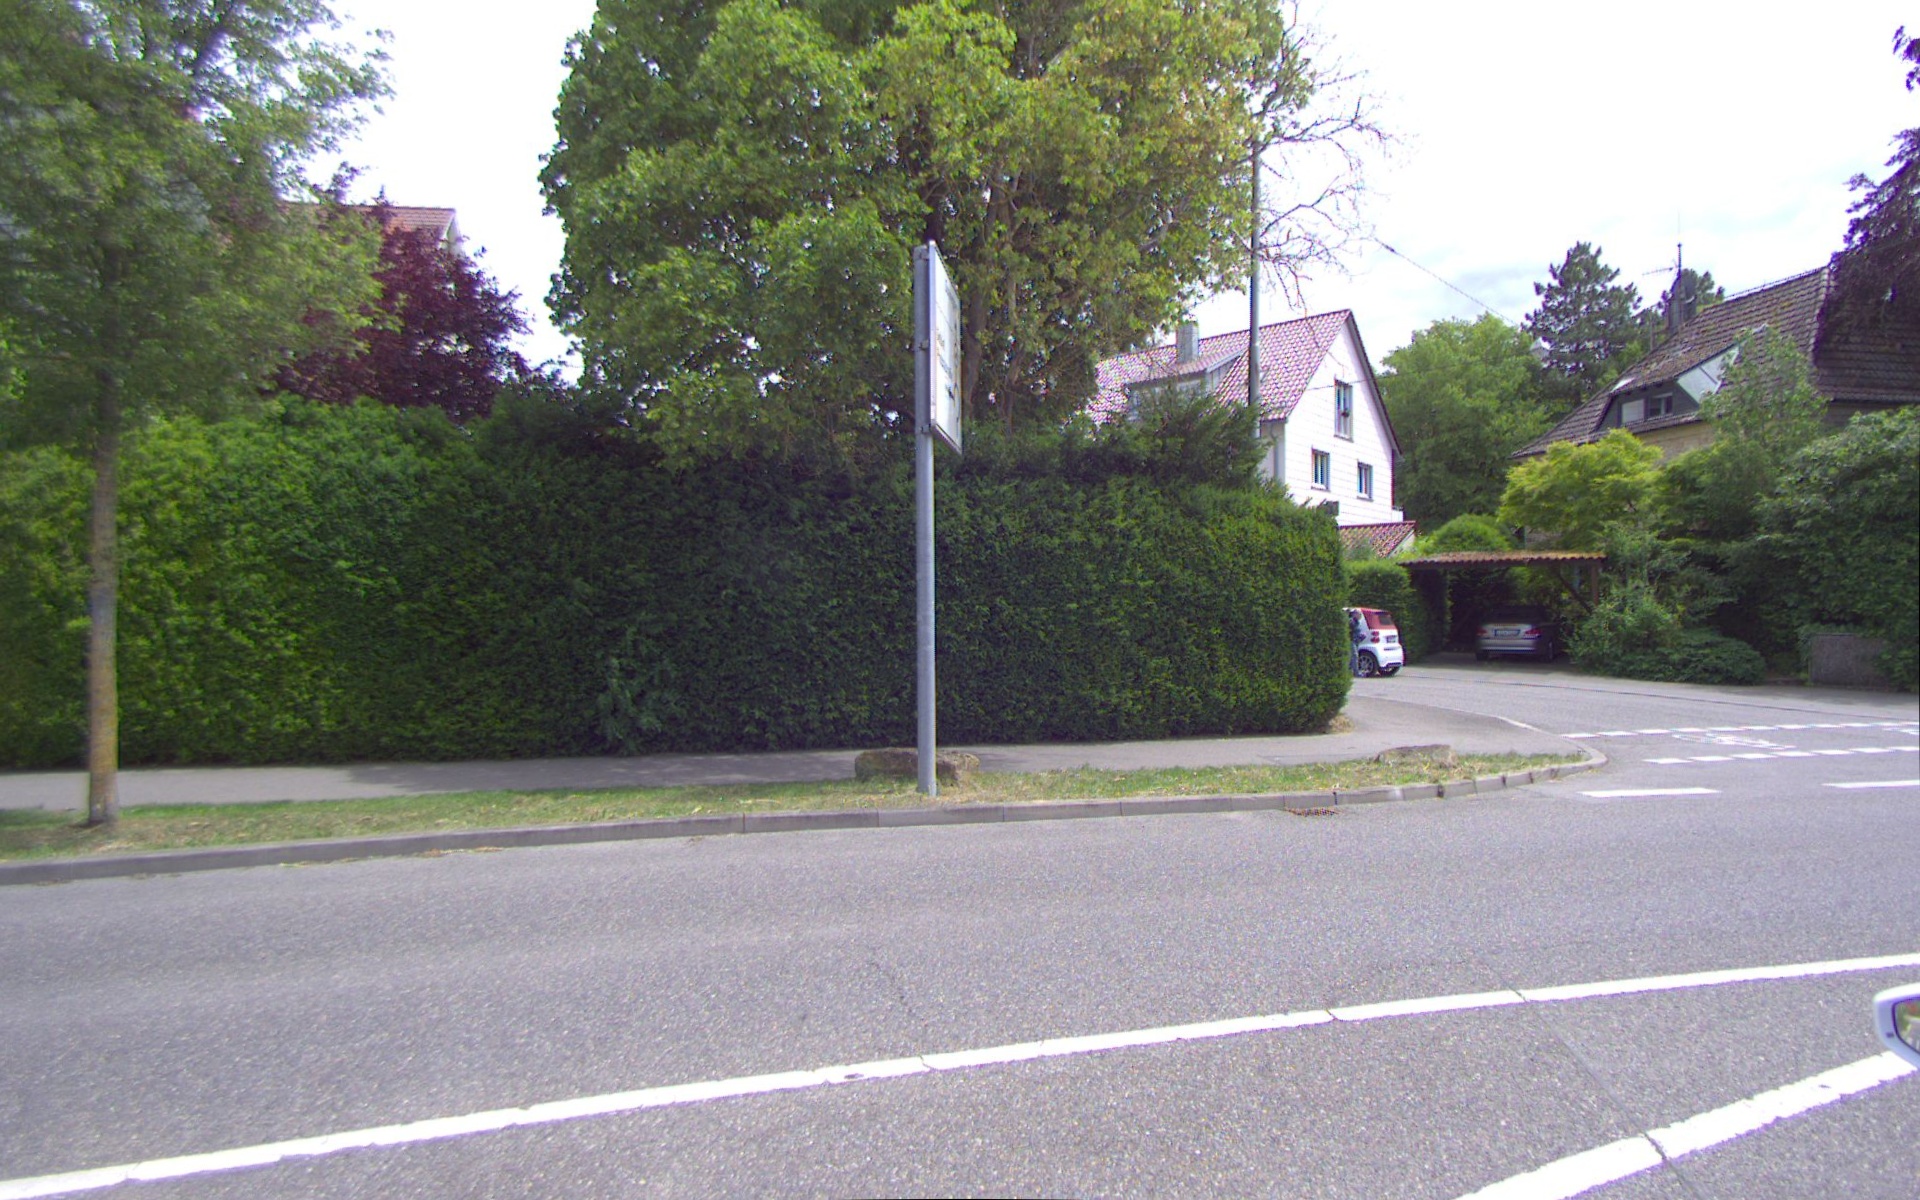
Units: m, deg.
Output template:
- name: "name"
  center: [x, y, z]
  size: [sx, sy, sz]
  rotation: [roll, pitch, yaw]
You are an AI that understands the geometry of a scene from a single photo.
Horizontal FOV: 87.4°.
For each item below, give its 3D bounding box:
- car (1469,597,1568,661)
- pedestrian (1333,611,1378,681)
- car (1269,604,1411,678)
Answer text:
- name: "car"
  center: [14.815, 0.702, 26.549]
  size: [1.701, 1.530, 3.983]
  rotation: [1, 0, 38]
- name: "pedestrian"
  center: [8.821, 1.008, 22.394]
  size: [0.623, 1.529, 0.721]
  rotation: [1, 0, -43]
- name: "car"
  center: [8.971, 0.921, 23.769]
  size: [2.740, 1.576, 1.580]
  rotation: [1, 0, 44]
